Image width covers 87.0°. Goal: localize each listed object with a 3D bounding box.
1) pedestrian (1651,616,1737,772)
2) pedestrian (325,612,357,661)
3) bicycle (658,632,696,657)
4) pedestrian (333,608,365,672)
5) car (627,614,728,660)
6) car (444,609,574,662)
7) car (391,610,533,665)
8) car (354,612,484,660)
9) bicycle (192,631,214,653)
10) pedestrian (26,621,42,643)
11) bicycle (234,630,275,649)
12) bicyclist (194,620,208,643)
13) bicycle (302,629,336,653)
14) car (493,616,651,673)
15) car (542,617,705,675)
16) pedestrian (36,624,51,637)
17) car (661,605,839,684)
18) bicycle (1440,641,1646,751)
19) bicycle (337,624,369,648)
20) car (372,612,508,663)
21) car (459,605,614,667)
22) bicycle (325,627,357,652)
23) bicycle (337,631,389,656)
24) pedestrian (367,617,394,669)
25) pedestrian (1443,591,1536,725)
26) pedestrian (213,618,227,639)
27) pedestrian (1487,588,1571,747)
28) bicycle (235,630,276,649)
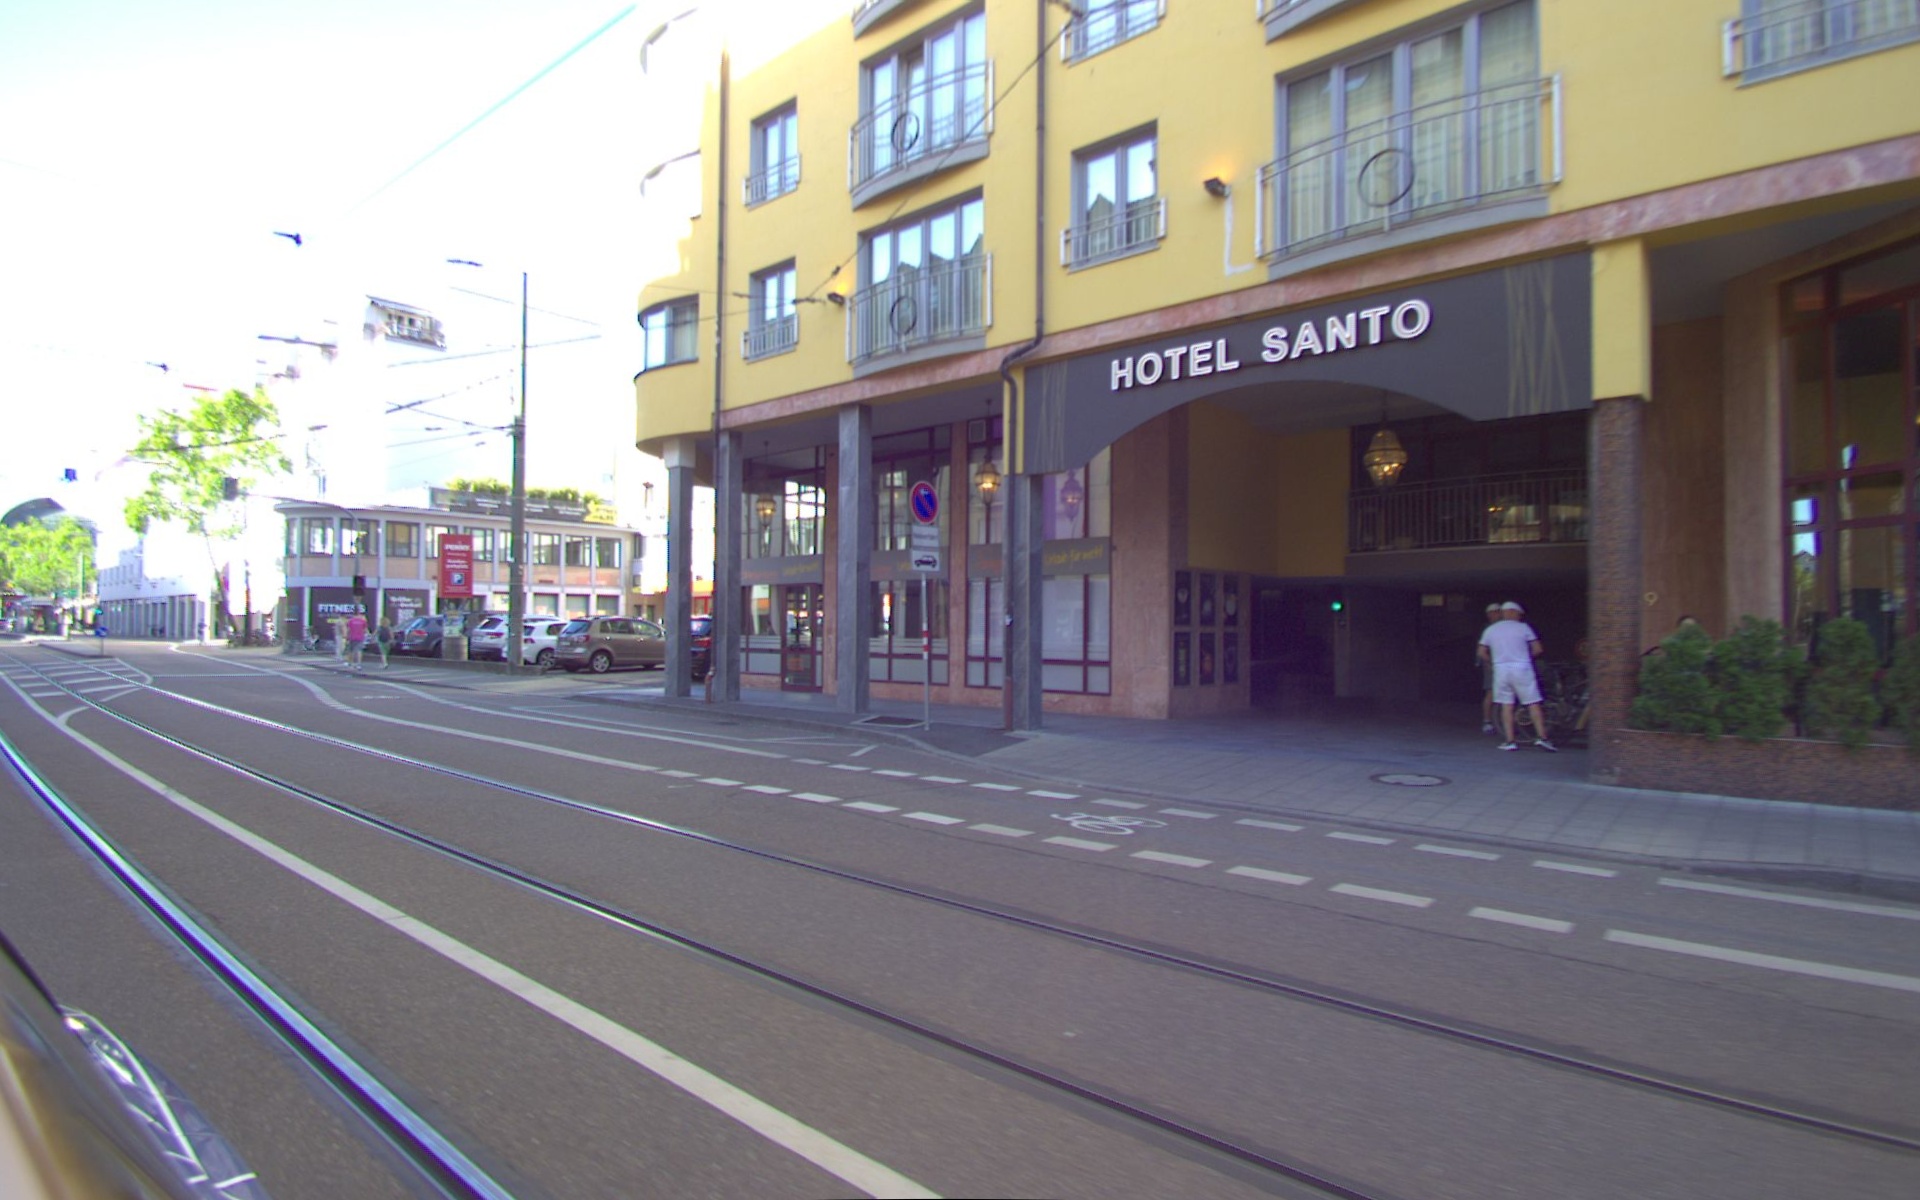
[{"bbox_3d":[7.677,0.950,10.587,0.697,1.559,0.602,2,-2,-44],"label":"pedestrian"},{"bbox_3d":[-22.701,1.321,37.102,0.778,1.777,0.707,-1,-2,34],"label":"pedestrian"},{"bbox_3d":[-12.258,1.921,43.827,2.061,1.022,0.504,-1,-2,39],"label":"bicycle"},{"bbox_3d":[-19.049,1.229,31.530,0.708,1.961,0.631,-1,-2,40],"label":"pedestrian"},{"bbox_3d":[-11.227,1.453,40.334,1.694,1.762,3.542,-1,-2,39],"label":"car"},{"bbox_3d":[-15.347,1.189,34.516,1.785,1.685,3.650,-1,-2,41],"label":"car"},{"bbox_3d":[-17.660,1.317,36.026,1.785,1.826,4.188,-1,-2,42],"label":"car"},{"bbox_3d":[-21.181,1.379,39.746,1.784,1.777,4.189,-1,-1,41],"label":"car"},{"bbox_3d":[-48.259,2.662,64.547,0.556,1.130,2.011,-10,8,-24],"label":"bicycle"},{"bbox_3d":[-69.163,2.375,75.612,0.747,1.657,0.784,-1,-2,42],"label":"pedestrian"},{"bbox_3d":[-40.118,2.237,57.536,1.850,1.085,0.465,2,-2,-40],"label":"bicycle"},{"bbox_3d":[-48.292,2.025,64.386,0.554,1.371,0.721,3,5,-25],"label":"bicyclist"},{"bbox_3d":[-27.716,1.762,43.756,1.874,1.044,0.519,-1,-2,34],"label":"bicycle"},{"bbox_3d":[-11.838,1.322,31.107,1.785,1.622,4.188,-1,-2,41],"label":"car"},{"bbox_3d":[-9.729,1.275,29.483,1.784,1.560,4.189,-1,-1,41],"label":"car"},{"bbox_3d":[-71.568,2.361,79.059,0.747,0.996,0.784,-2,-3,42],"label":"pedestrian"},{"bbox_3d":[-5.256,1.149,25.751,1.785,1.826,4.188,-1,-4,41],"label":"car"},{"bbox_3d":[7.028,1.111,12.296,0.574,1.212,2.082,3,-3,-44],"label":"bicycle"},{"bbox_3d":[-26.632,1.586,44.395,1.874,1.044,0.459,-1,-2,34],"label":"bicycle"},{"bbox_3d":[-19.466,1.383,37.997,1.784,1.826,4.189,-1,-2,41],"label":"car"},{"bbox_3d":[-13.572,1.179,32.587,1.785,1.825,4.189,1,-2,41],"label":"car"},{"bbox_3d":[-26.868,1.714,43.921,1.874,1.088,0.459,-1,-2,34],"label":"bicycle"},{"bbox_3d":[-25.444,1.855,43.138,1.847,1.044,0.427,1,-2,-24],"label":"bicycle"},{"bbox_3d":[-18.387,1.363,32.109,0.499,1.629,0.566,-1,-2,40],"label":"pedestrian"},{"bbox_3d":[7.345,0.780,14.046,0.699,1.783,0.957,2,-2,-44],"label":"pedestrian"},{"bbox_3d":[-59.331,2.275,81.100,0.731,1.657,0.737,-1,-2,42],"label":"pedestrian"},{"bbox_3d":[6.668,0.769,11.864,0.554,1.783,0.723,2,-2,-44],"label":"pedestrian"},{"bbox_3d":[-40.366,2.251,57.987,1.850,1.085,0.465,2,-2,-40],"label":"bicycle"}]
